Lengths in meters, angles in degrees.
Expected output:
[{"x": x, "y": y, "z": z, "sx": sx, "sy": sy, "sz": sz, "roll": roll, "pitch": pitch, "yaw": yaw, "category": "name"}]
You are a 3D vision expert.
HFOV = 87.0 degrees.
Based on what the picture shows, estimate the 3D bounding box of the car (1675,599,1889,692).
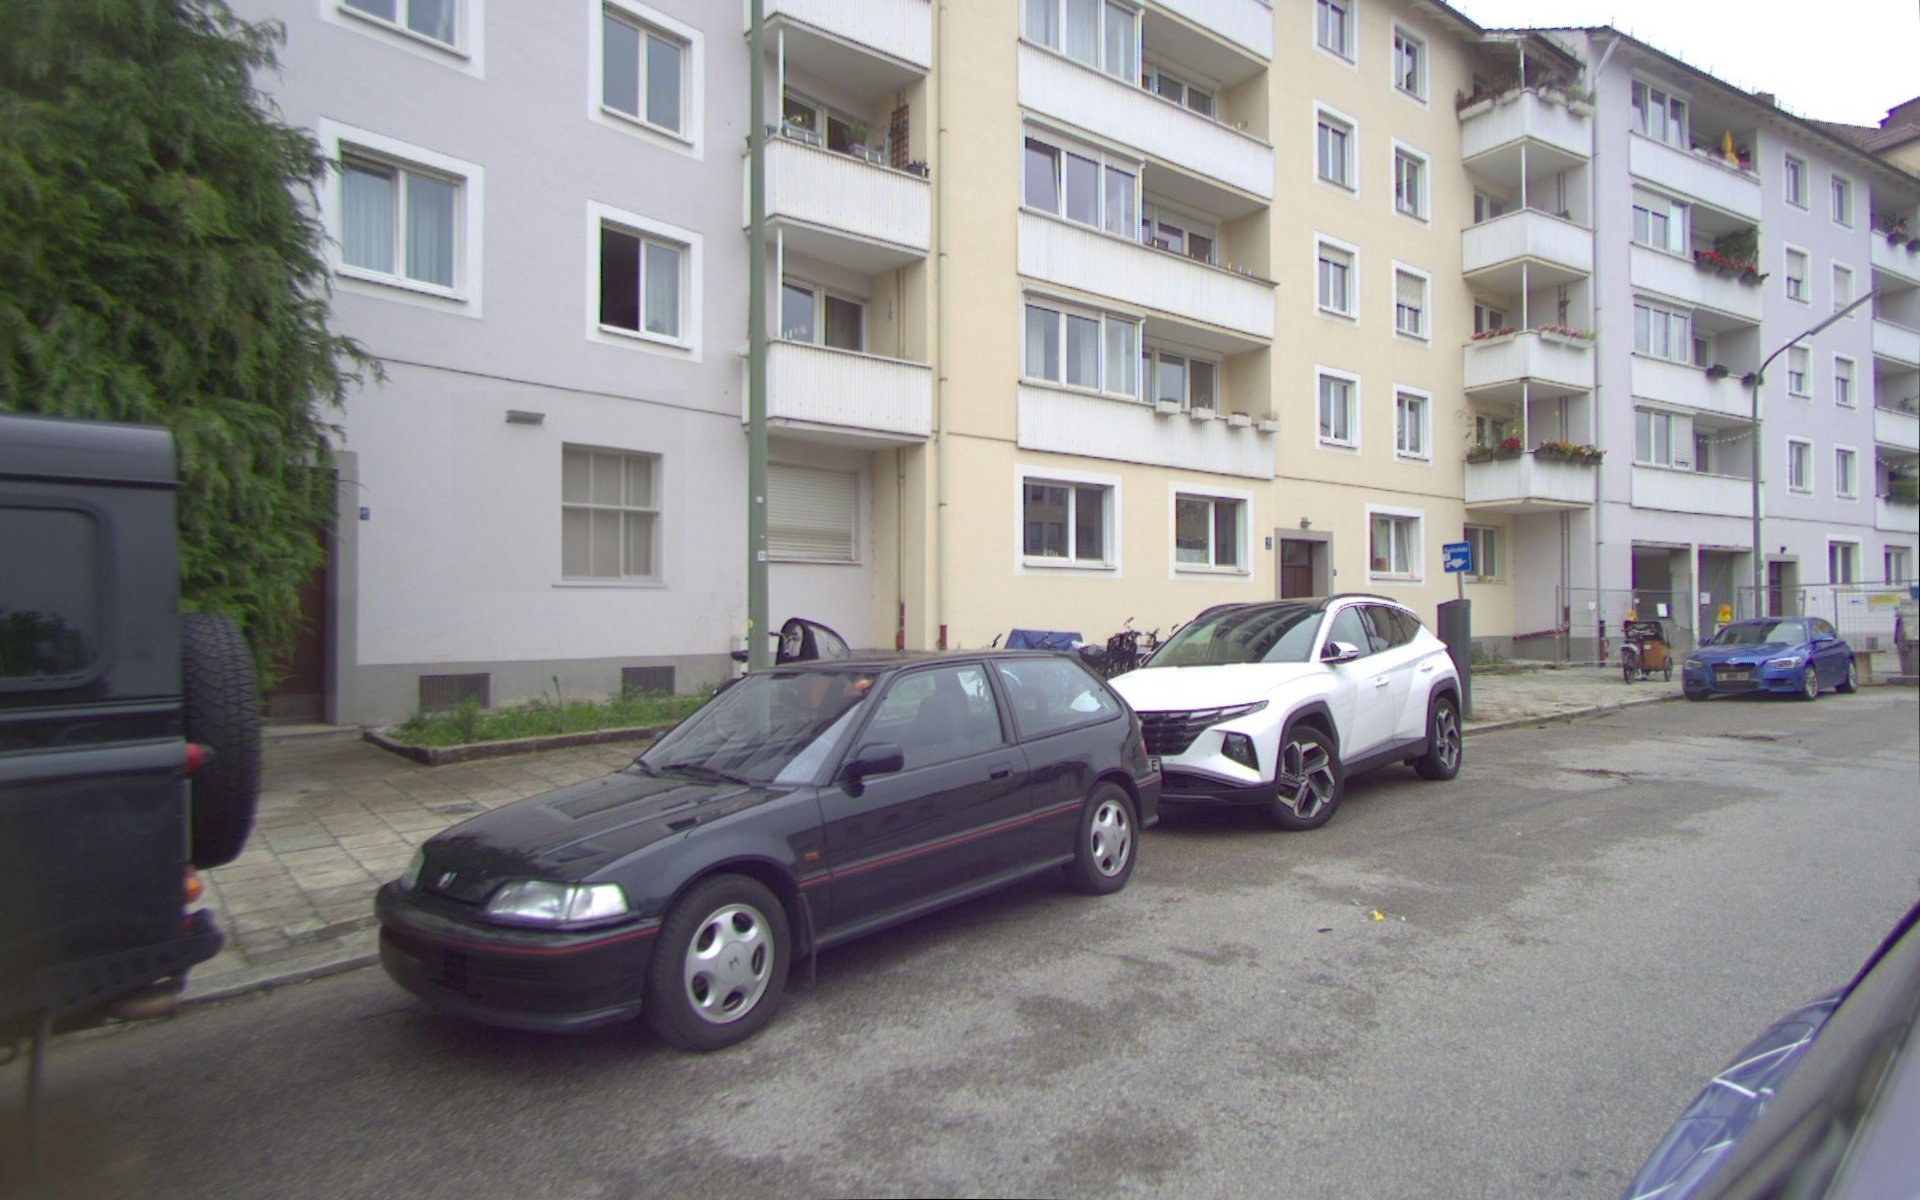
[{"x": 14.669, "y": 0.796, "z": 17.984, "sx": 4.542, "sy": 1.461, "sz": 1.835, "roll": 1, "pitch": -4, "yaw": -37, "category": "car"}]

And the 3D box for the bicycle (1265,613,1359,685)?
[{"x": 6.465, "y": 0.882, "z": 18.659, "sx": 0.424, "sy": 1.237, "sz": 1.705, "roll": 1, "pitch": -1, "yaw": -34, "category": "bicycle"}]

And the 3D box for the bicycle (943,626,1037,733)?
[{"x": 0.347, "y": 0.974, "z": 13.011, "sx": 0.565, "sy": 1.172, "sz": 1.837, "roll": 1, "pitch": 1, "yaw": -19, "category": "bicycle"}]

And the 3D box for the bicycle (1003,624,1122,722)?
[{"x": 1.388, "y": 0.960, "z": 13.995, "sx": 0.567, "sy": 1.172, "sz": 1.833, "roll": 1, "pitch": 1, "yaw": -34, "category": "bicycle"}]

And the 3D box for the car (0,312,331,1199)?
[{"x": -3.785, "y": 0.431, "z": 1.602, "sx": 1.747, "sy": 2.109, "sz": 4.443, "roll": -3, "pitch": -4, "yaw": 44, "category": "car"}]

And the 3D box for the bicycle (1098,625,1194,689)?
[{"x": 2.891, "y": 0.866, "z": 15.820, "sx": 1.468, "sy": 0.868, "sz": 0.437, "roll": 3, "pitch": 2, "yaw": 44, "category": "bicycle"}]

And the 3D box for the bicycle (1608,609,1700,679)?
[{"x": 14.326, "y": 0.867, "z": 20.868, "sx": 2.725, "sy": 1.339, "sz": 0.811, "roll": 0, "pitch": 1, "yaw": -39, "category": "bicycle"}]

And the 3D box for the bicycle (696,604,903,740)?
[{"x": -1.793, "y": 0.757, "z": 11.734, "sx": 0.742, "sy": 1.384, "sz": 2.434, "roll": 3, "pitch": 2, "yaw": 41, "category": "bicycle"}]

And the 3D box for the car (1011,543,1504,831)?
[{"x": 2.675, "y": 0.598, "z": 8.352, "sx": 2.025, "sy": 1.700, "sz": 4.539, "roll": -3, "pitch": -4, "yaw": 44, "category": "car"}]

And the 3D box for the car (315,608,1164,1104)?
[{"x": -0.701, "y": 0.769, "z": 4.869, "sx": 1.656, "sy": 1.366, "sz": 3.748, "roll": -3, "pitch": -2, "yaw": 41, "category": "car"}]
